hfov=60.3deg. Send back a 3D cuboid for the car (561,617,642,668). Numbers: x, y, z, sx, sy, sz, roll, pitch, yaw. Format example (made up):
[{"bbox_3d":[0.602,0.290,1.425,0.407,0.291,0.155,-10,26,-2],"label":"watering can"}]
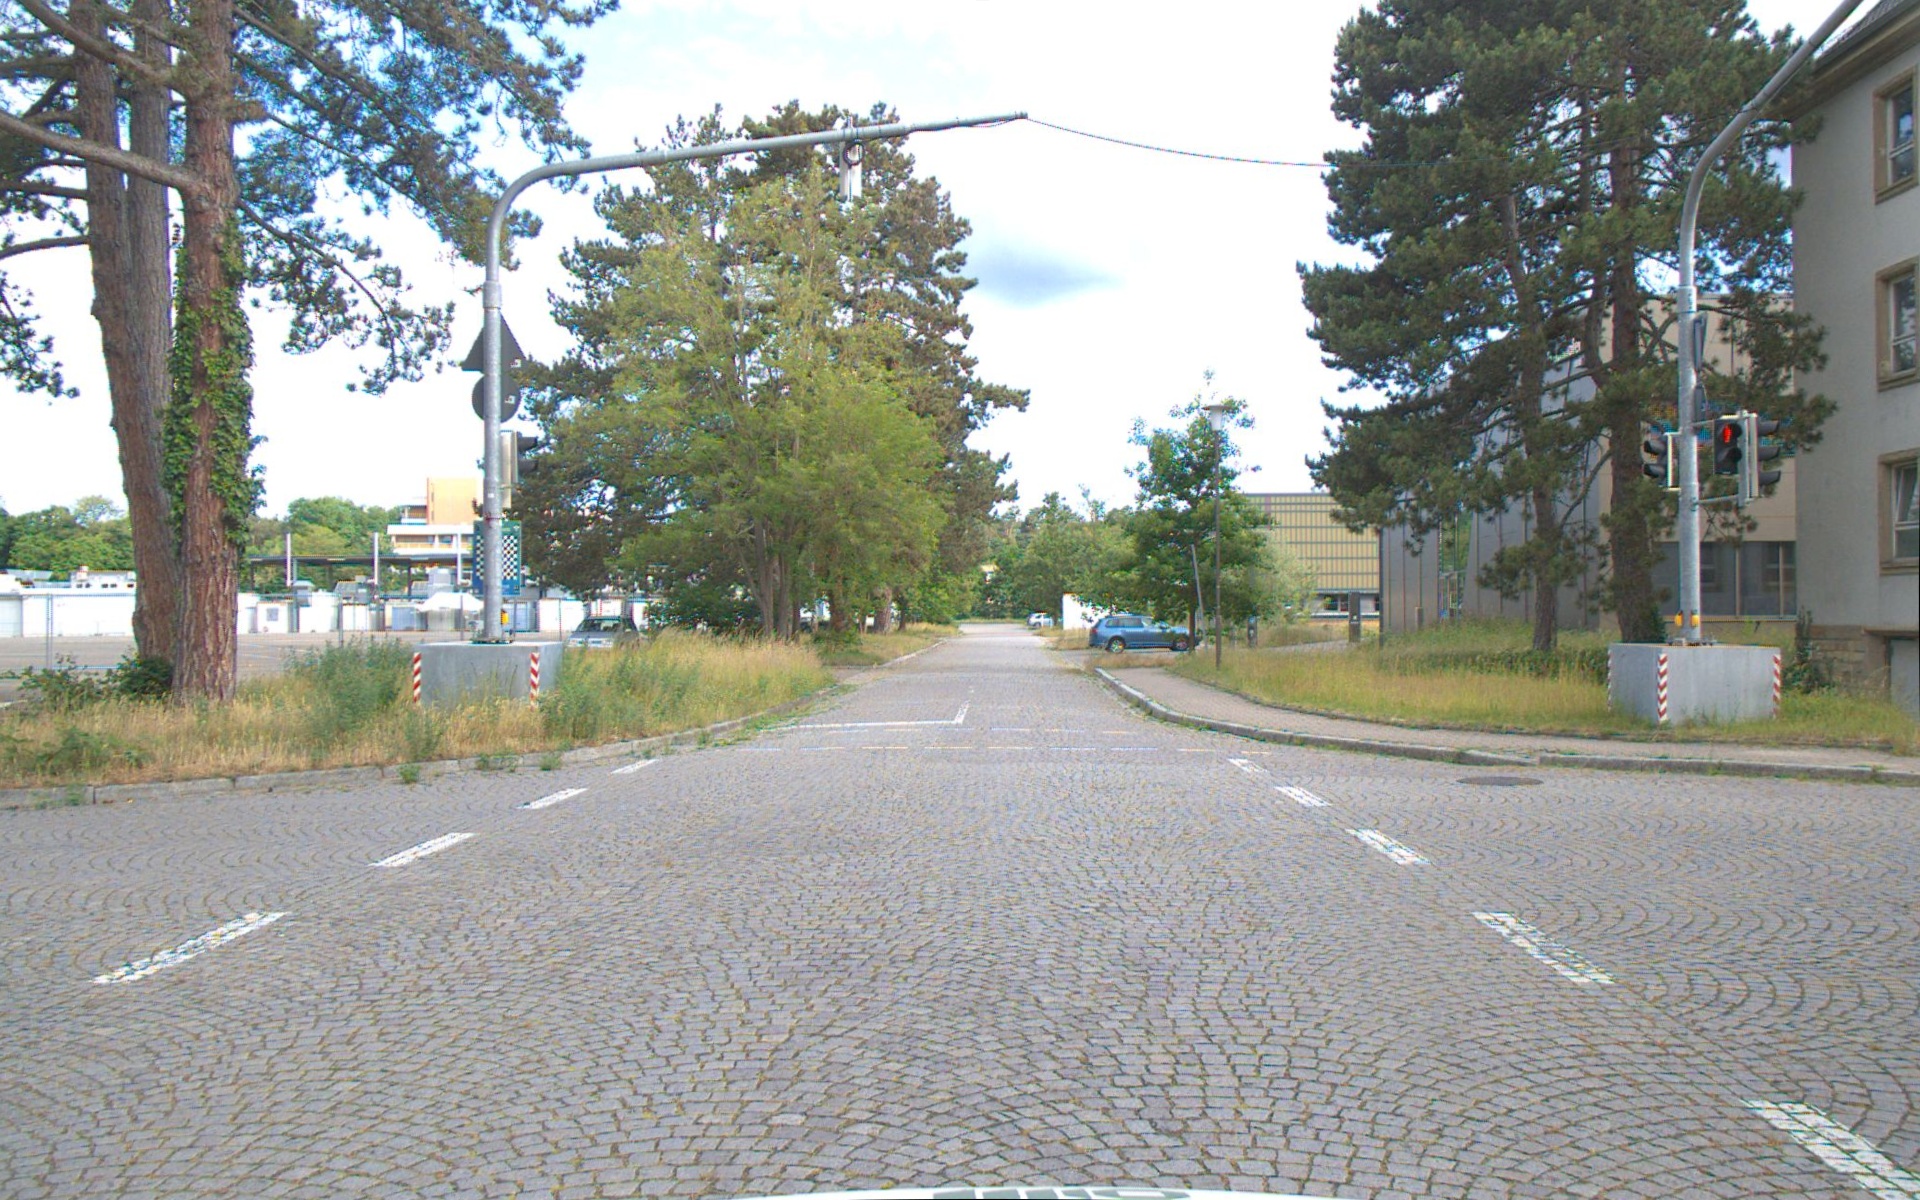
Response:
[{"bbox_3d":[-11.270,1.313,52.175,1.579,1.513,4.001,0,0,1],"label":"car"}]

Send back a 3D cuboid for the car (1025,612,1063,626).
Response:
[{"bbox_3d":[9.315,2.104,183.724,3.908,1.422,1.998,0,0,-4],"label":"car"}]

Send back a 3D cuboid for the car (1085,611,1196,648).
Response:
[{"bbox_3d":[7.250,1.177,66.647,4.255,1.447,2.000,-1,0,-1],"label":"car"}]
